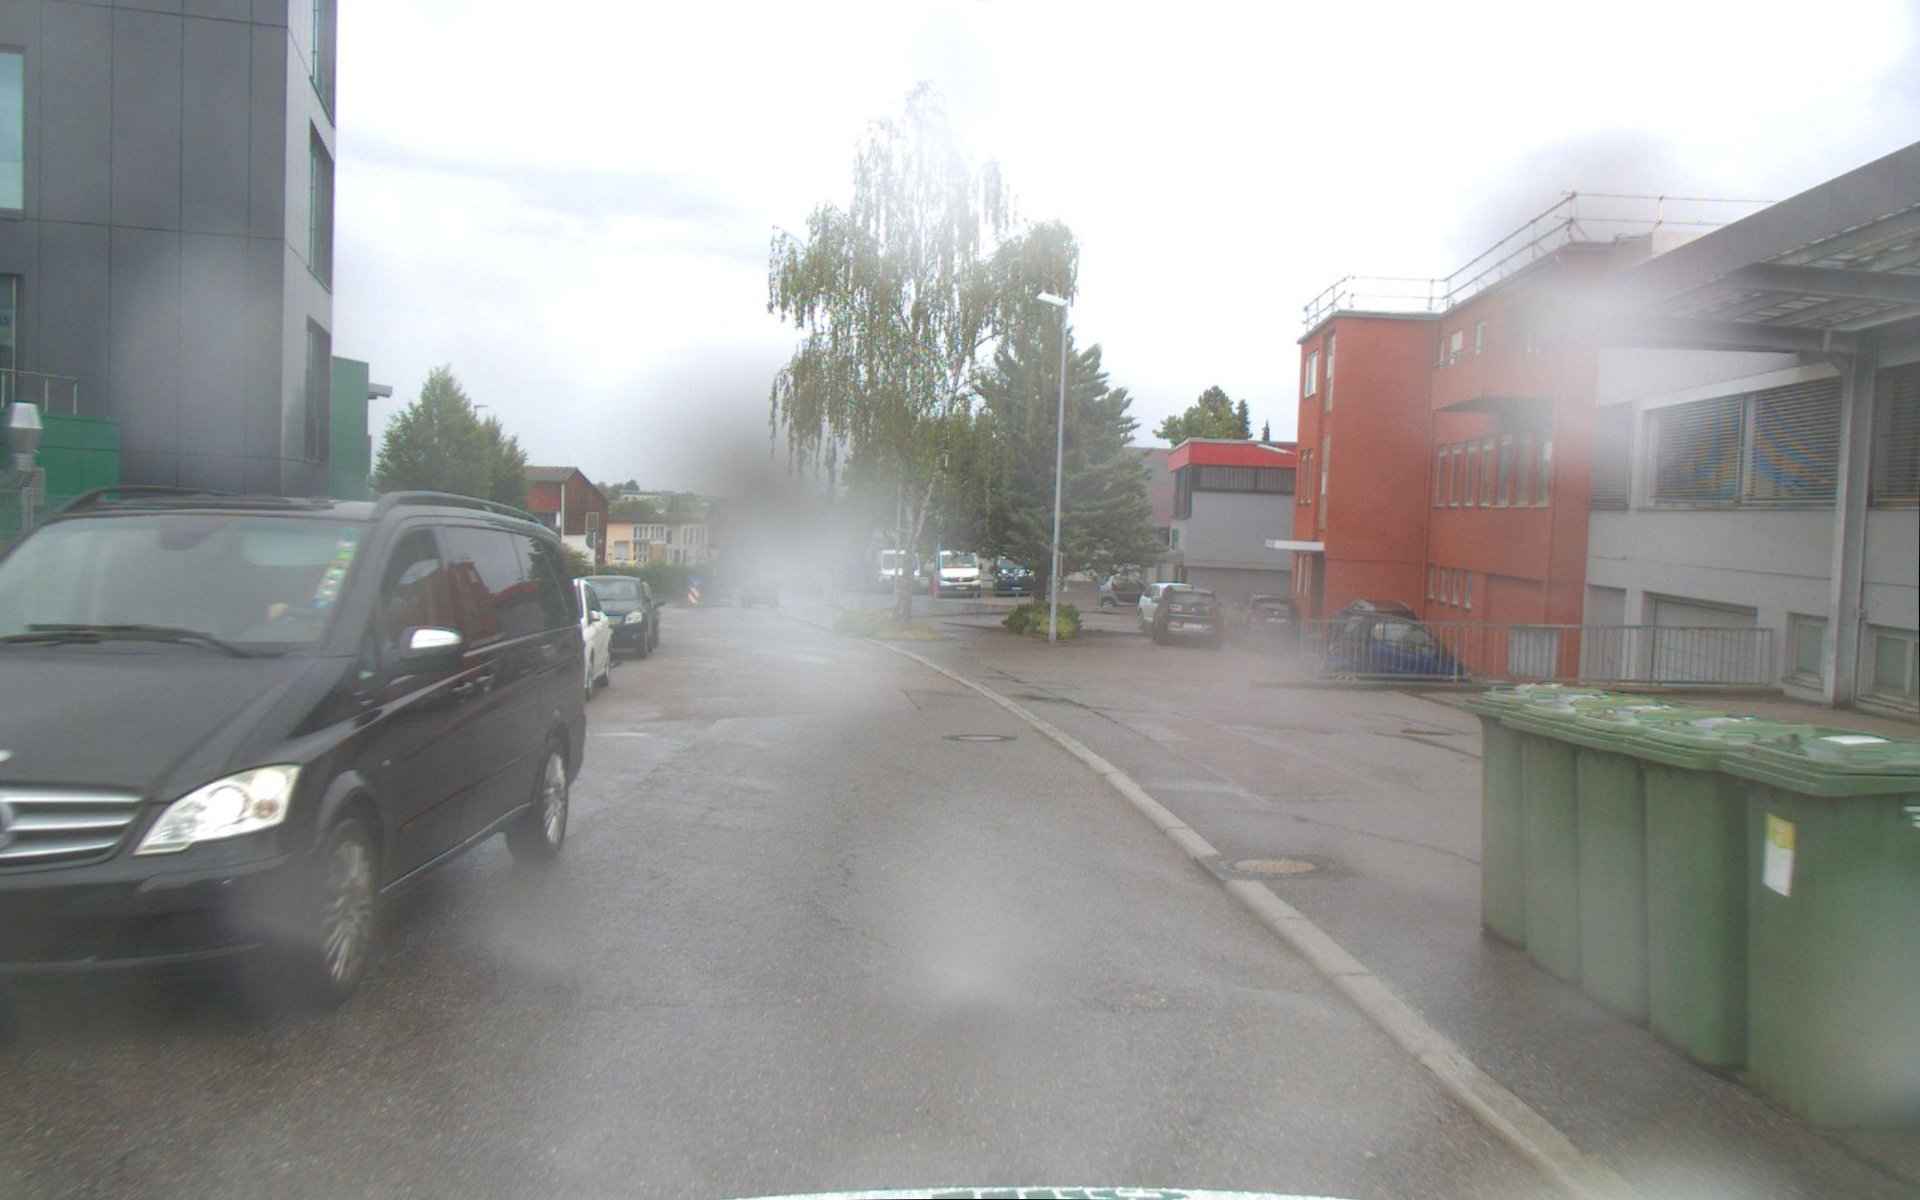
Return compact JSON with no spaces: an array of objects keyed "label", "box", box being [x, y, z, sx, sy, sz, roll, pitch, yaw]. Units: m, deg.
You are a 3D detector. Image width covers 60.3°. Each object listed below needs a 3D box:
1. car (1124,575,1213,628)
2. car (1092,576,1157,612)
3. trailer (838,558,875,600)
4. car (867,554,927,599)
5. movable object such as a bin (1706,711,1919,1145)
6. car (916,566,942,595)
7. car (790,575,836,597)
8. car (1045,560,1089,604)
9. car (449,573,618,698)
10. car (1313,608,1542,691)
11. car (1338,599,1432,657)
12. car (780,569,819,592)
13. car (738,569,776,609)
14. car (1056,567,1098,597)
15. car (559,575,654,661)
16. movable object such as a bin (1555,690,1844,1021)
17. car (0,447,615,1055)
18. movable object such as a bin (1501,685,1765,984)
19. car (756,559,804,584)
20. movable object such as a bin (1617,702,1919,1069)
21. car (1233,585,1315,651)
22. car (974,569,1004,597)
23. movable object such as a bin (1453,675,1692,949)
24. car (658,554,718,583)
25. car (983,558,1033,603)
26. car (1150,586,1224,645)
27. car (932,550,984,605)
[{"label":"car","box":[6.585,0.066,52.611,2.024,1.579,3.996,2,-1,-4]},{"label":"car","box":[6.680,-0.231,67.272,2.496,1.375,1.242,2,0,-2]},{"label":"trailer","box":[-5.294,-1.054,84.398,1.816,2.049,3.997,2,0,-4]},{"label":"car","box":[-3.096,-1.100,80.257,2.225,2.049,3.988,2,-1,-12]},{"label":"movable object such as a bin","box":[2.735,0.911,4.811,0.790,1.112,0.709,1,0,-2]},{"label":"car","box":[-1.612,-1.003,86.215,1.264,1.449,2.545,2,-1,-3]},{"label":"car","box":[-11.239,-1.037,126.249,2.427,1.566,3.972,2,-1,-23]},{"label":"car","box":[5.244,-0.850,81.580,1.745,2.049,3.630,2,-1,-3]},{"label":"car","box":[-5.730,0.462,22.654,1.737,1.539,4.137,1,-1,-8]},{"label":"car","box":[7.607,0.782,27.180,3.329,1.183,1.793,2,0,5]},{"label":"car","box":[11.414,0.752,44.659,1.693,1.446,4.001,2,-1,3]},{"label":"car","box":[-12.833,-1.510,131.918,1.966,1.734,3.972,2,-1,-23]},{"label":"car","box":[-10.970,-0.586,89.708,1.833,2.064,3.995,2,-1,-5]},{"label":"car","box":[6.136,-0.930,87.380,1.605,1.479,3.507,2,-1,-6]},{"label":"car","box":[-7.171,0.317,33.808,1.669,1.637,3.992,0,1,-9]},{"label":"movable object such as a bin","box":[2.679,0.908,6.039,0.793,1.109,0.541,1,0,-2]},{"label":"car","box":[-3.036,0.458,7.750,1.846,1.919,5.071,0,0,-1]},{"label":"movable object such as a bin","box":[2.664,0.910,6.600,0.792,1.095,0.581,1,0,-2]},{"label":"car","box":[-17.477,-2.745,160.660,4.150,2.265,2.002,1,-1,10]},{"label":"movable object such as a bin","box":[2.678,0.912,5.463,0.759,1.094,0.583,1,0,-2]},{"label":"car","box":[8.608,0.504,45.613,1.703,1.682,4.001,1,-1,3]},{"label":"car","box":[1.526,-0.874,87.036,1.370,1.349,2.699,2,-1,-3]},{"label":"movable object such as a bin","box":[2.648,0.897,7.205,0.785,1.098,0.624,1,0,-2]},{"label":"car","box":[-19.559,-2.284,119.048,3.903,1.914,2.001,2,0,4]},{"label":"car","box":[2.340,-0.935,81.332,2.103,2.049,3.937,2,-1,-3]},{"label":"car","box":[6.159,0.425,45.138,1.661,1.501,4.001,2,-1,3]},{"label":"car","box":[-0.129,-1.065,80.522,2.150,2.502,3.996,2,-1,-5]}]
